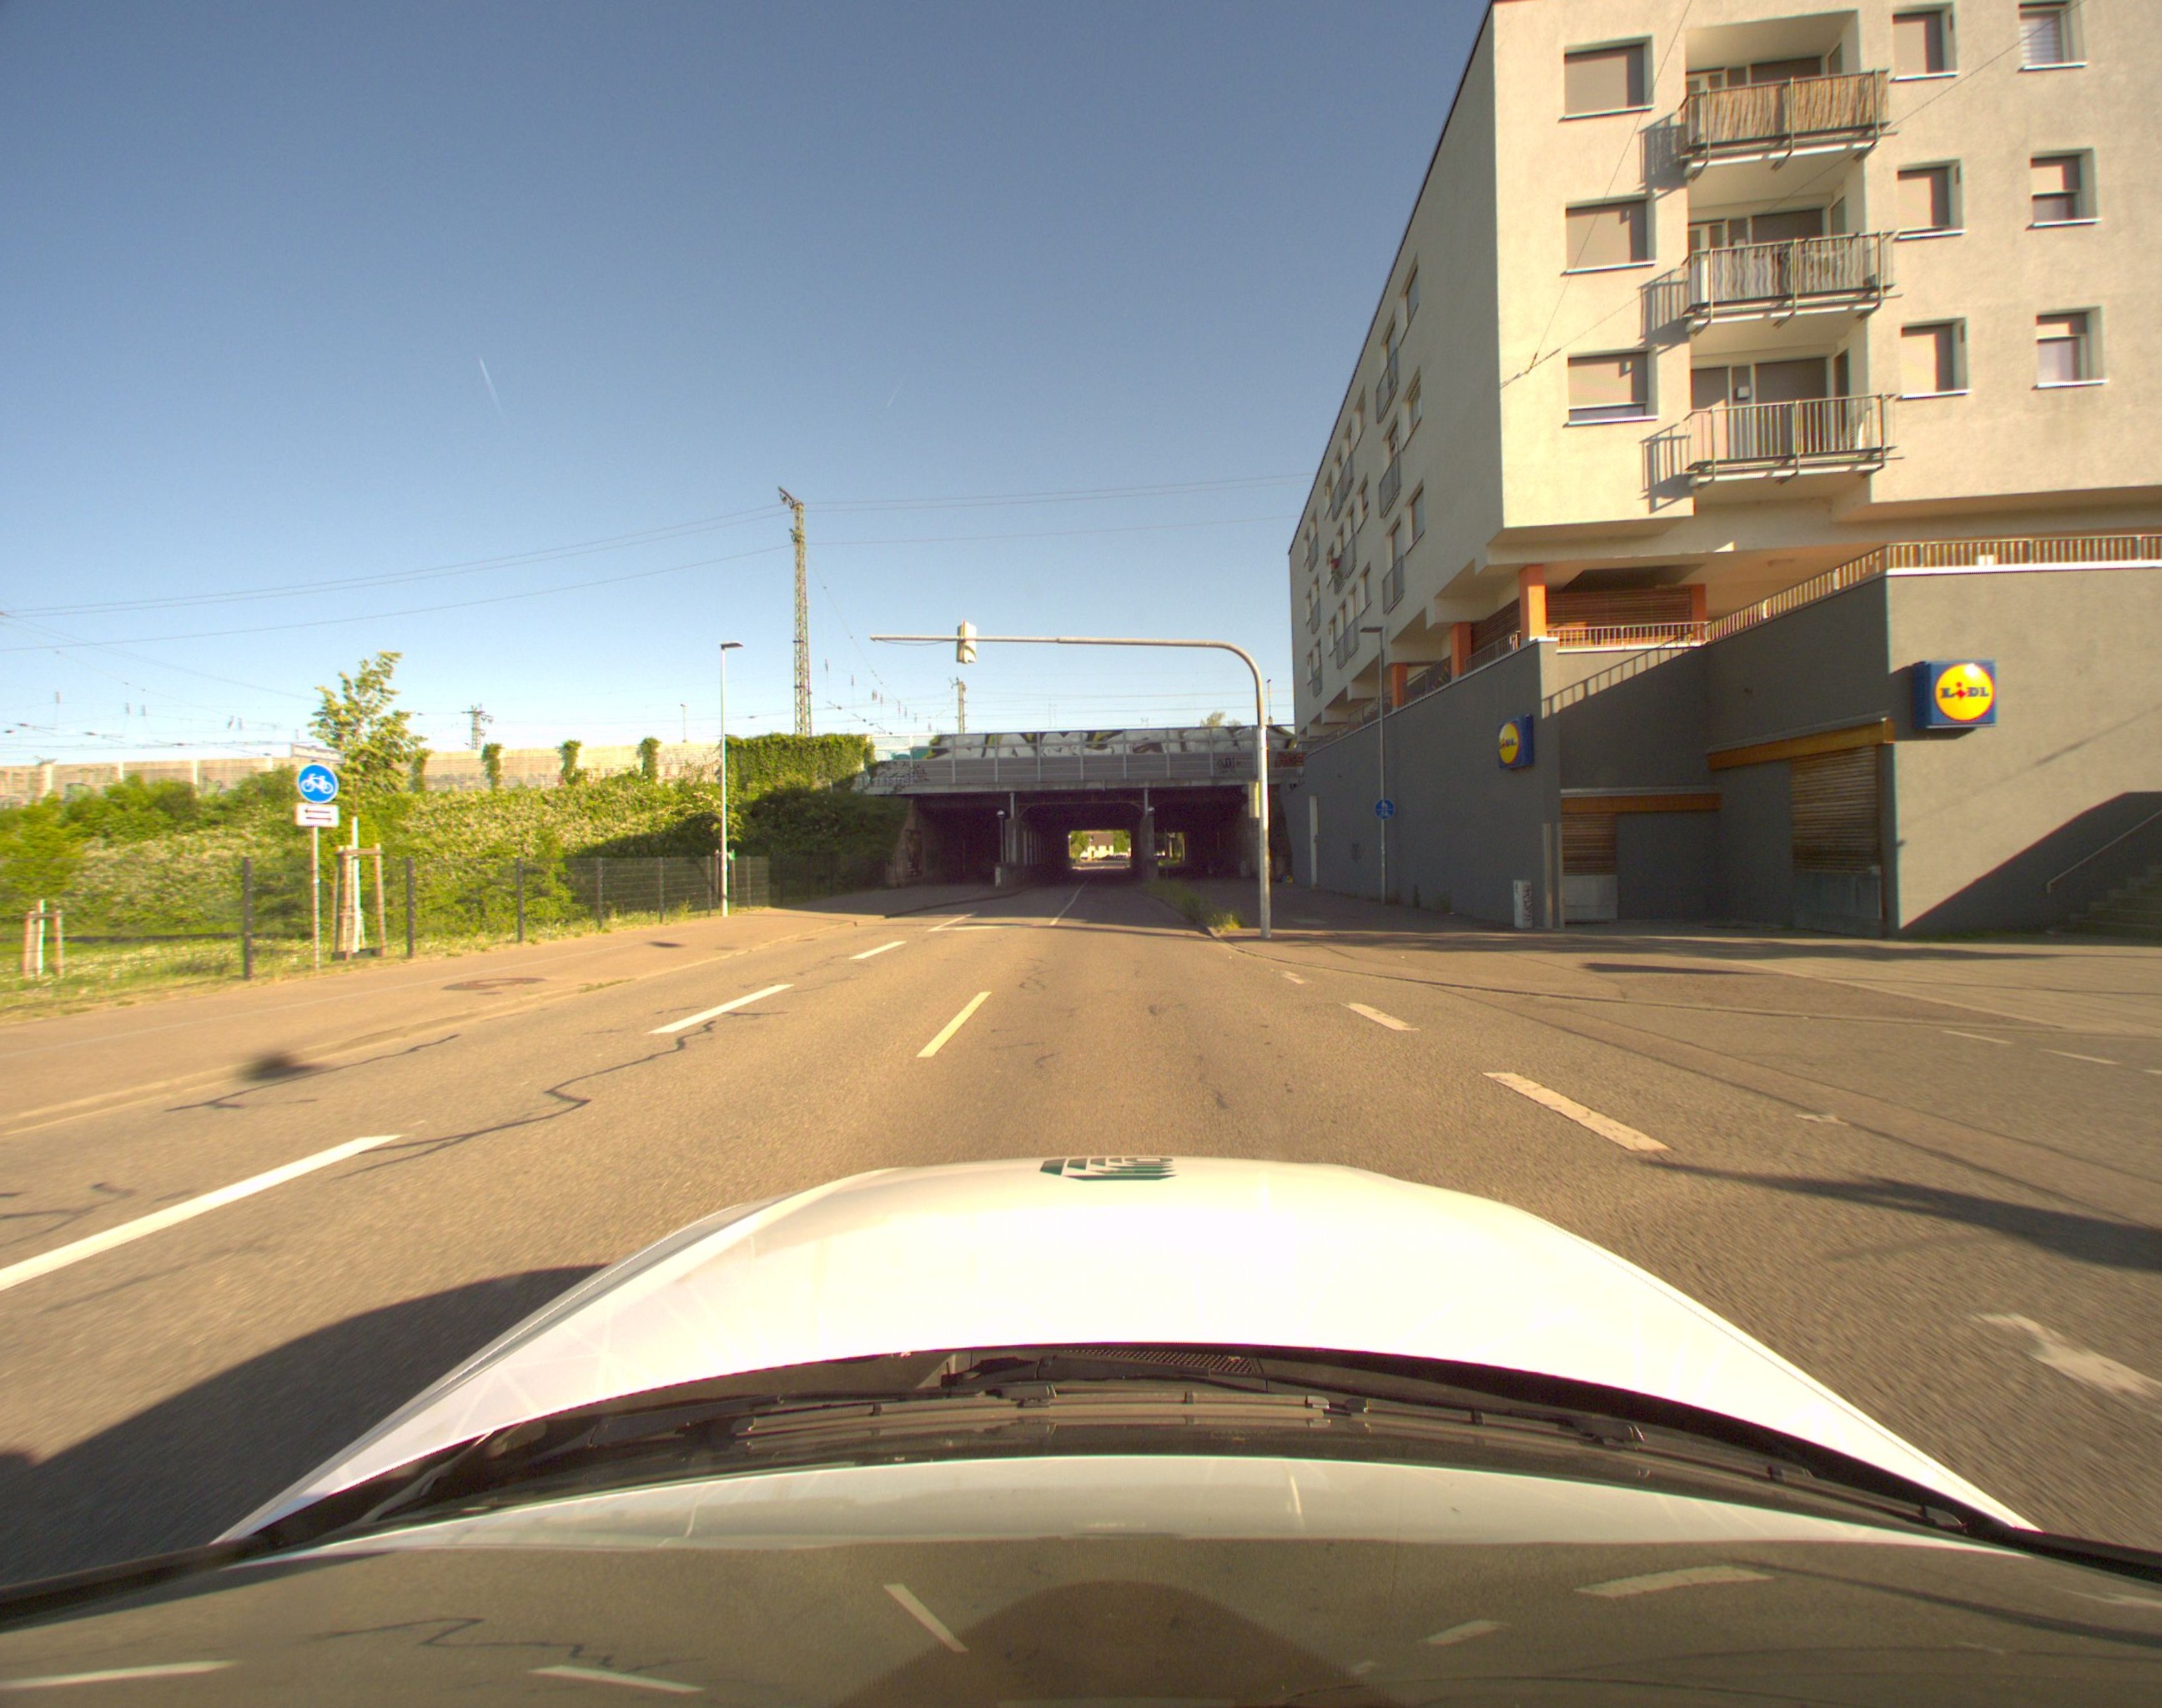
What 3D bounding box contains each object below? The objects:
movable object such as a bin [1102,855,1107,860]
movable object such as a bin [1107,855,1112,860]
[{"bbox_3d":[6.316,0.946,219.344,1.362,1.418,1.064,1,-1,-5],"label":"movable object such as a bin"},{"bbox_3d":[7.710,0.964,219.539,1.362,1.418,1.064,1,-1,-5],"label":"movable object such as a bin"}]
